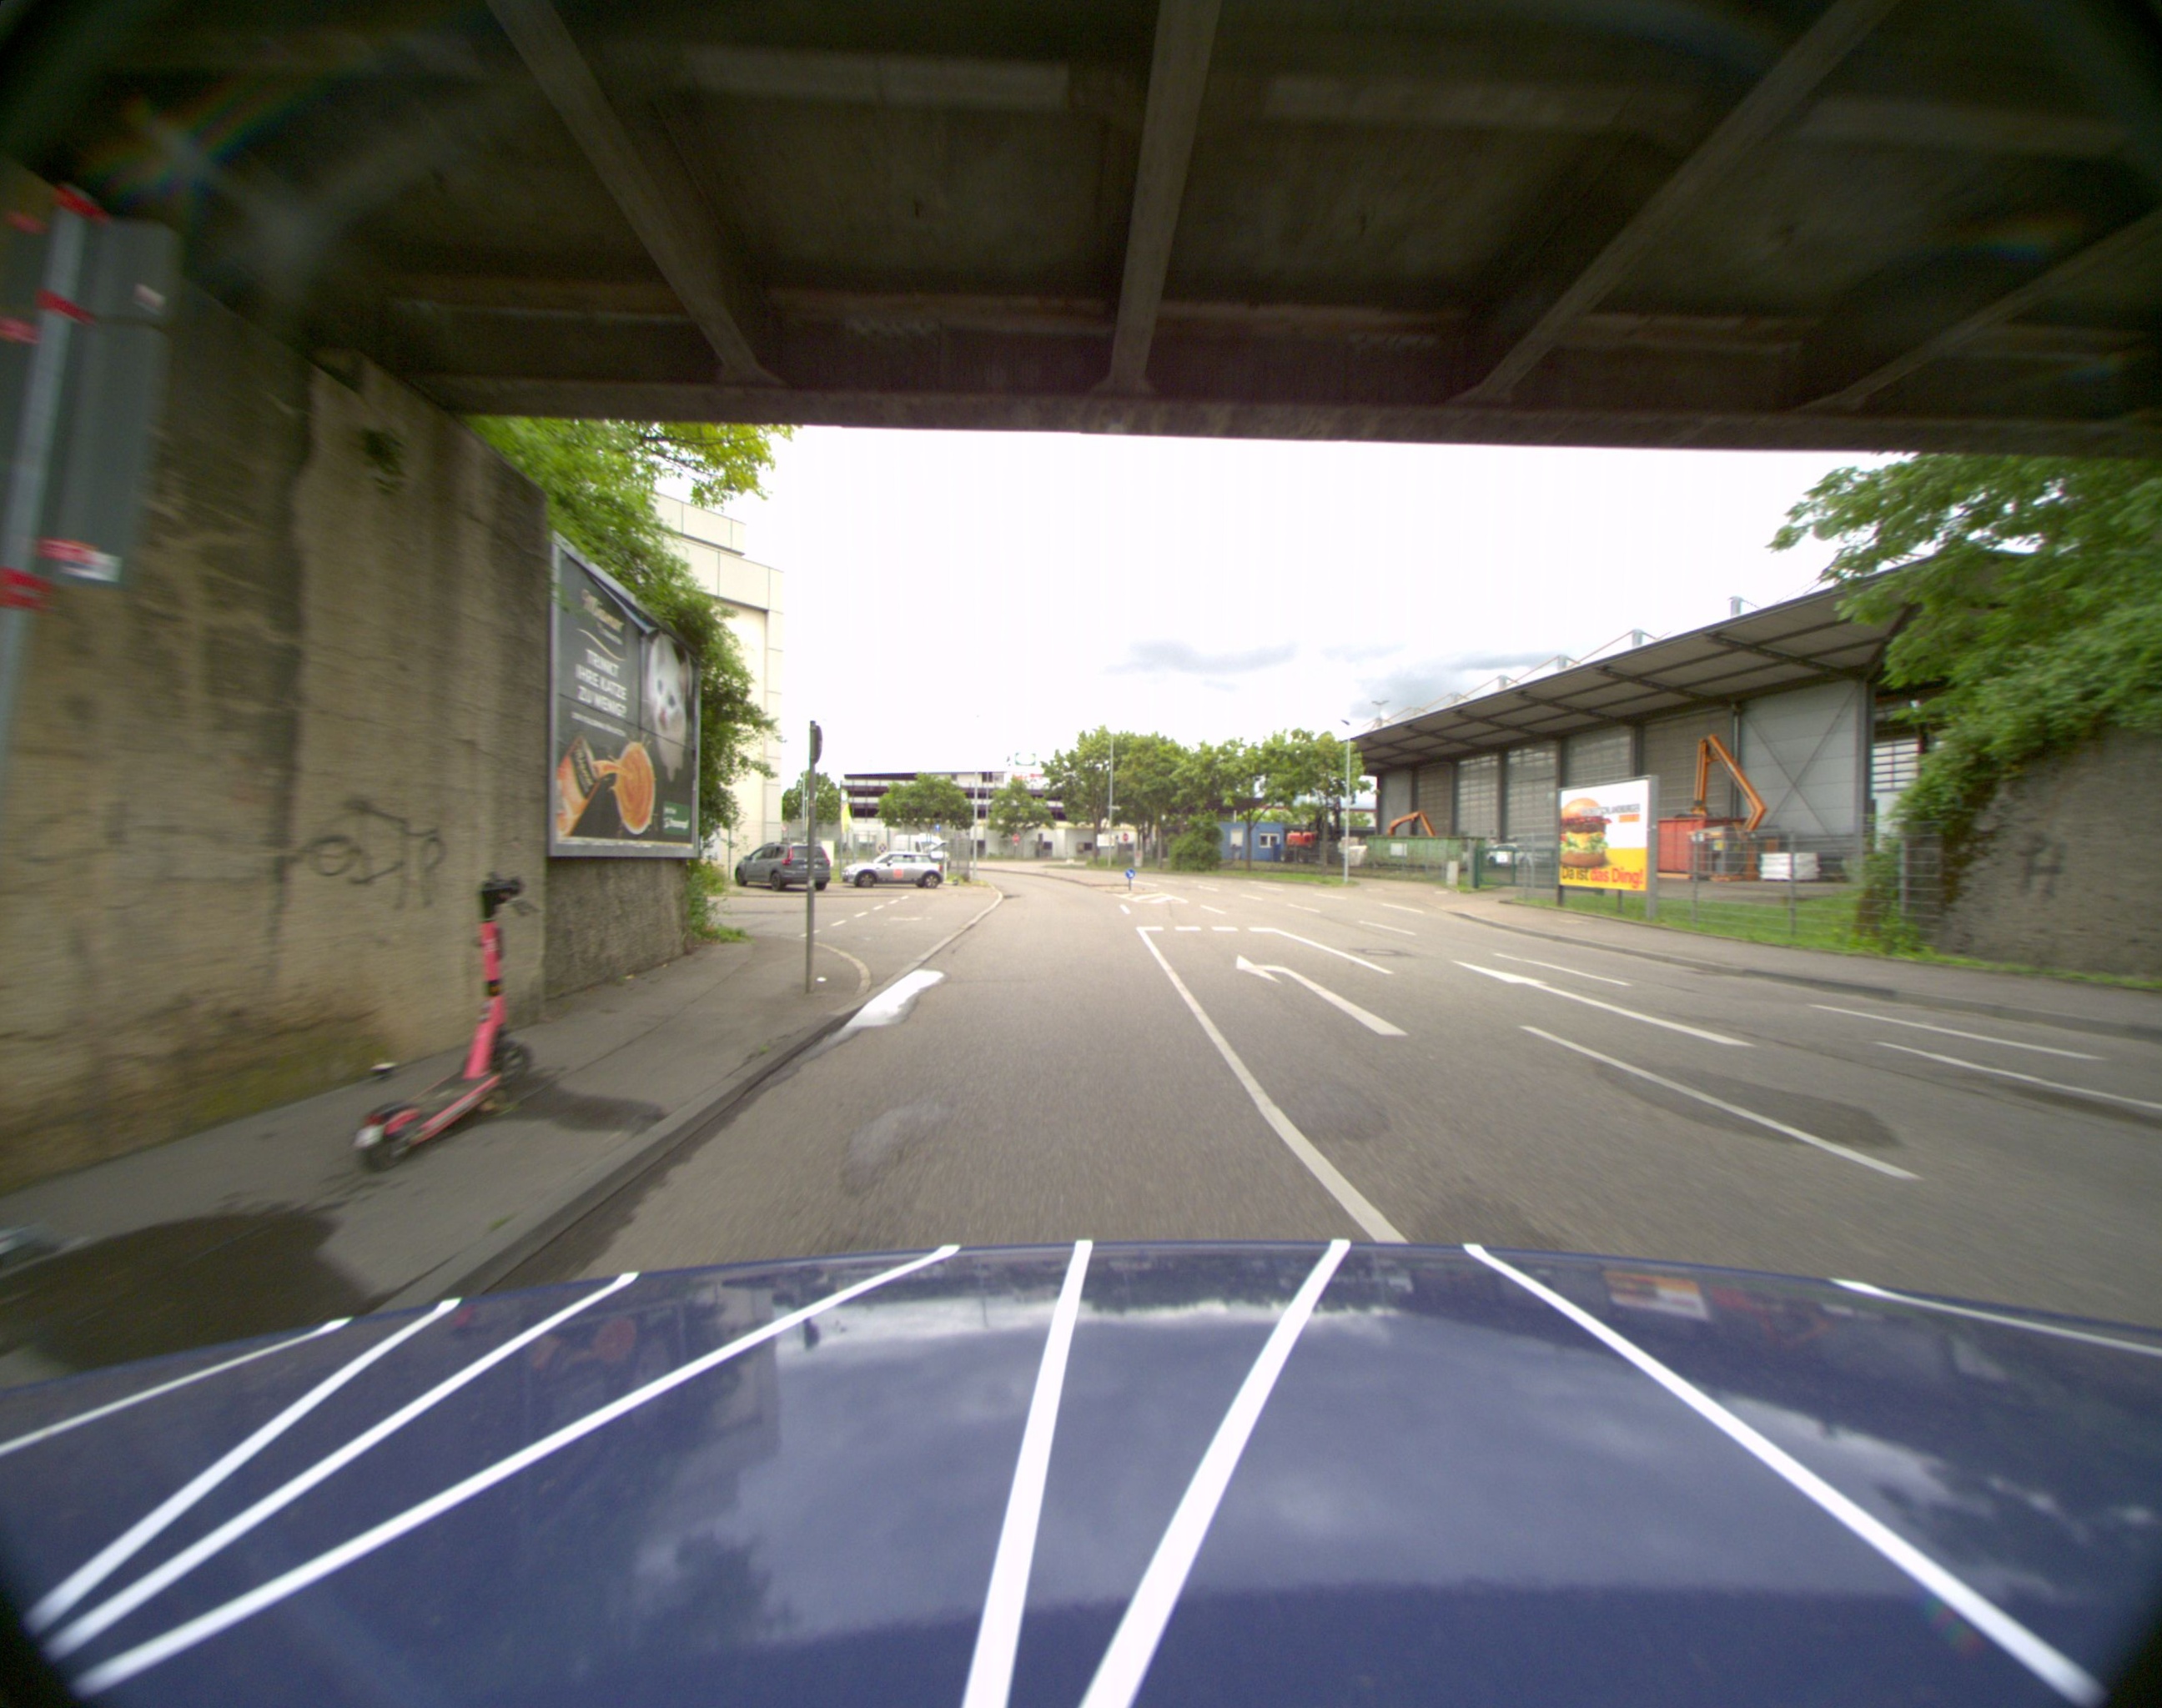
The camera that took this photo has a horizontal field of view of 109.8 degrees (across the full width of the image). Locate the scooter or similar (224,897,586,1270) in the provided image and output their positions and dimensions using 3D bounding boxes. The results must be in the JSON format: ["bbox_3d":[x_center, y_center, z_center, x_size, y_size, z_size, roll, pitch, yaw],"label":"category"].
[{"bbox_3d":[-3.000,0.891,3.604,0.506,1.229,1.667,5,0,-14],"label":"scooter or similar"}]

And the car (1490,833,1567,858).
[{"bbox_3d":[26.134,-0.512,44.562,1.738,1.366,3.996,1,1,-9],"label":"car"}]

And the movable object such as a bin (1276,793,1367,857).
[{"bbox_3d":[16.486,-1.905,52.531,2.736,4.067,6.542,1,0,-16],"label":"movable object such as a bin"}]

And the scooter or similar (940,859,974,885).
[{"bbox_3d":[-5.578,0.803,34.141,1.418,1.127,0.480,3,1,-1],"label":"scooter or similar"}]

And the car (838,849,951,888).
[{"bbox_3d":[-7.342,0.569,29.936,4.026,1.423,1.782,1,1,-27],"label":"car"}]

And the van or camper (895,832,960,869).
[{"bbox_3d":[-11.040,-0.316,54.318,2.277,2.542,6.090,-1,2,-35],"label":"van or camper"}]

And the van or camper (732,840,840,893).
[{"bbox_3d":[-10.381,0.360,26.571,4.492,1.685,1.836,2,2,45],"label":"van or camper"}]
